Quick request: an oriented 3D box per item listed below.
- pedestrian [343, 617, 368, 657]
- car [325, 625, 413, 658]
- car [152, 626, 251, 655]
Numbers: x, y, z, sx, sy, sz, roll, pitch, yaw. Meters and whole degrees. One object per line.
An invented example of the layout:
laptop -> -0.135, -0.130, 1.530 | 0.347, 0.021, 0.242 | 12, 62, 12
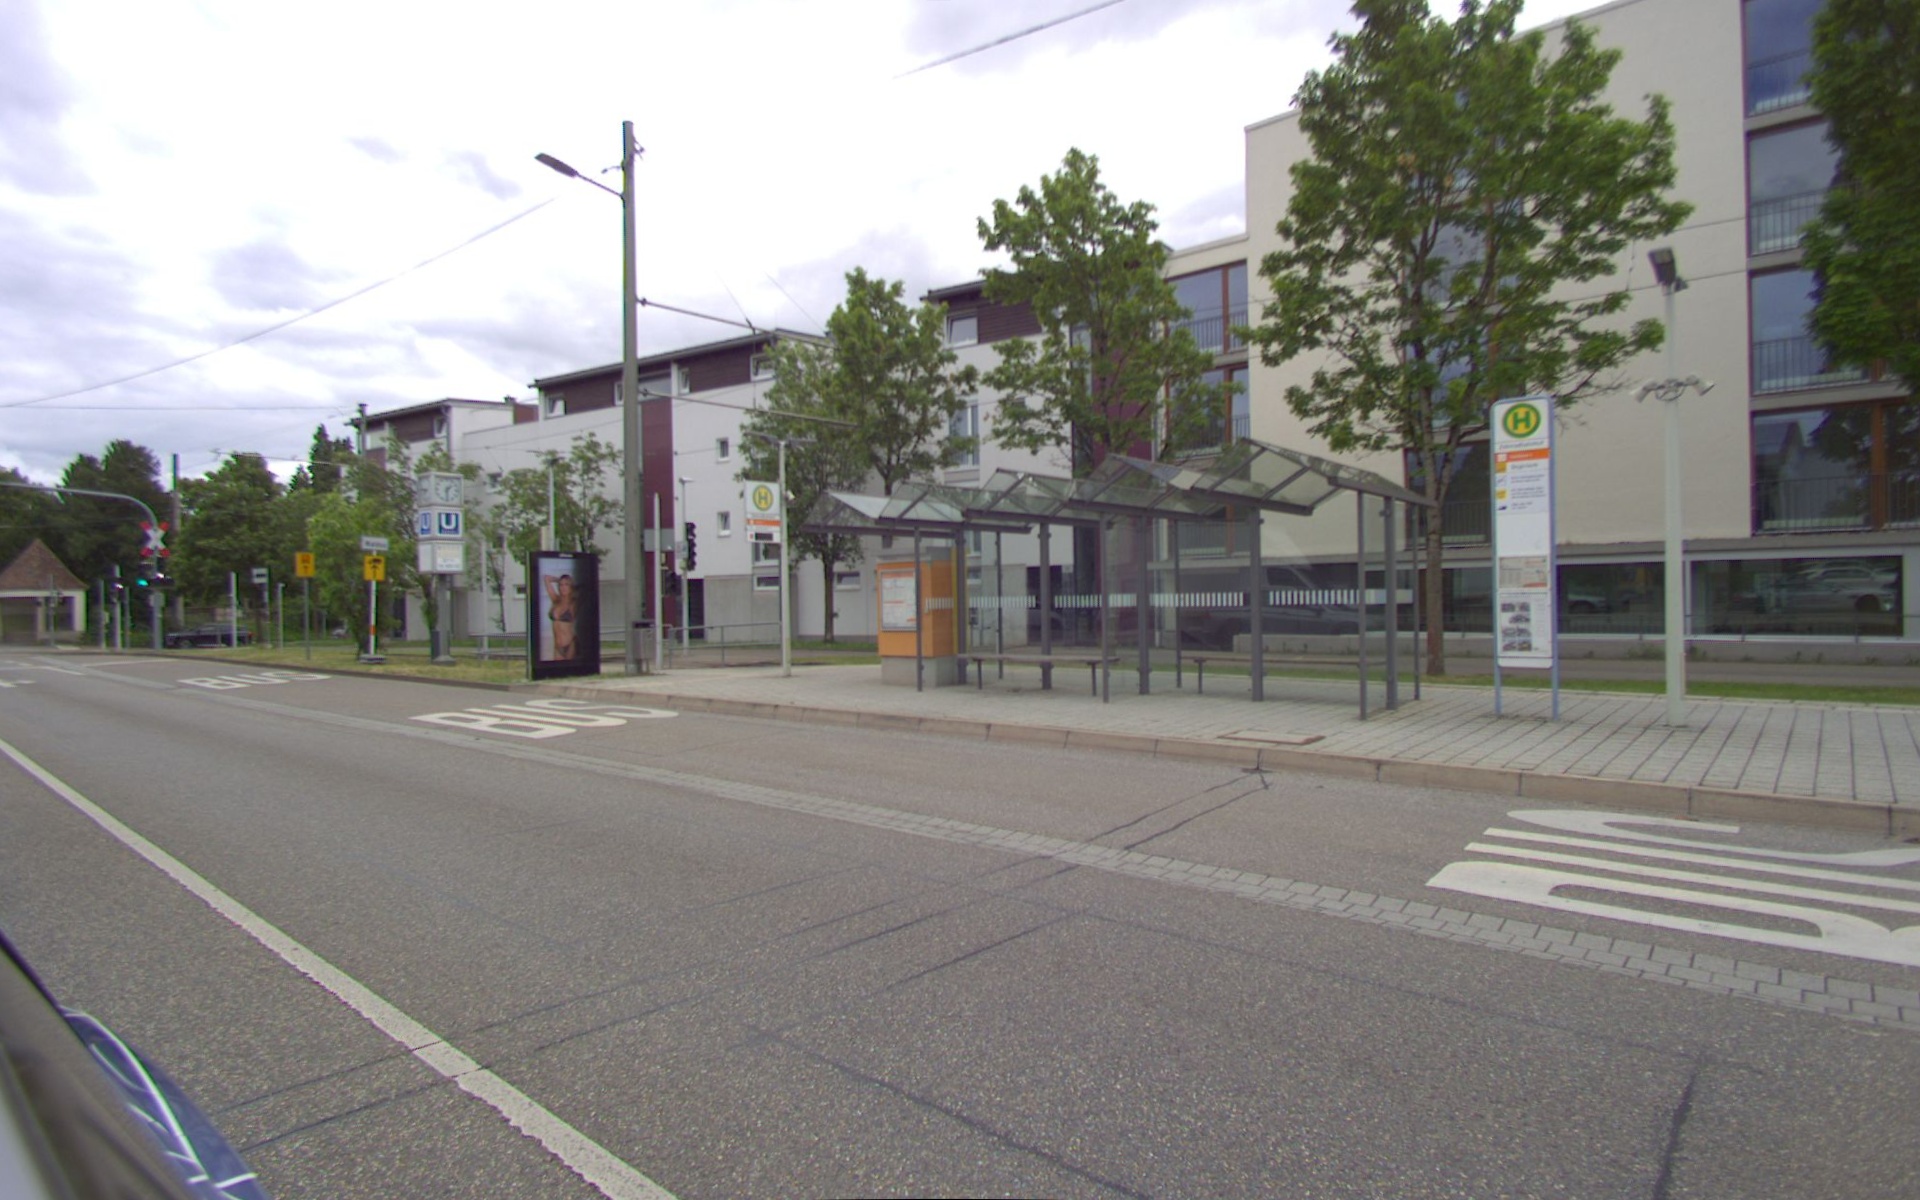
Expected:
pedestrian -> -26.038, 1.593, 43.588 | 0.817, 1.657, 0.669 | -4, -3, 35
car -> -38.147, 2.715, 65.459 | 1.995, 2.029, 4.418 | -1, -4, 34
car -> -46.493, 2.484, 62.114 | 1.960, 1.682, 4.437 | -1, -3, 33
